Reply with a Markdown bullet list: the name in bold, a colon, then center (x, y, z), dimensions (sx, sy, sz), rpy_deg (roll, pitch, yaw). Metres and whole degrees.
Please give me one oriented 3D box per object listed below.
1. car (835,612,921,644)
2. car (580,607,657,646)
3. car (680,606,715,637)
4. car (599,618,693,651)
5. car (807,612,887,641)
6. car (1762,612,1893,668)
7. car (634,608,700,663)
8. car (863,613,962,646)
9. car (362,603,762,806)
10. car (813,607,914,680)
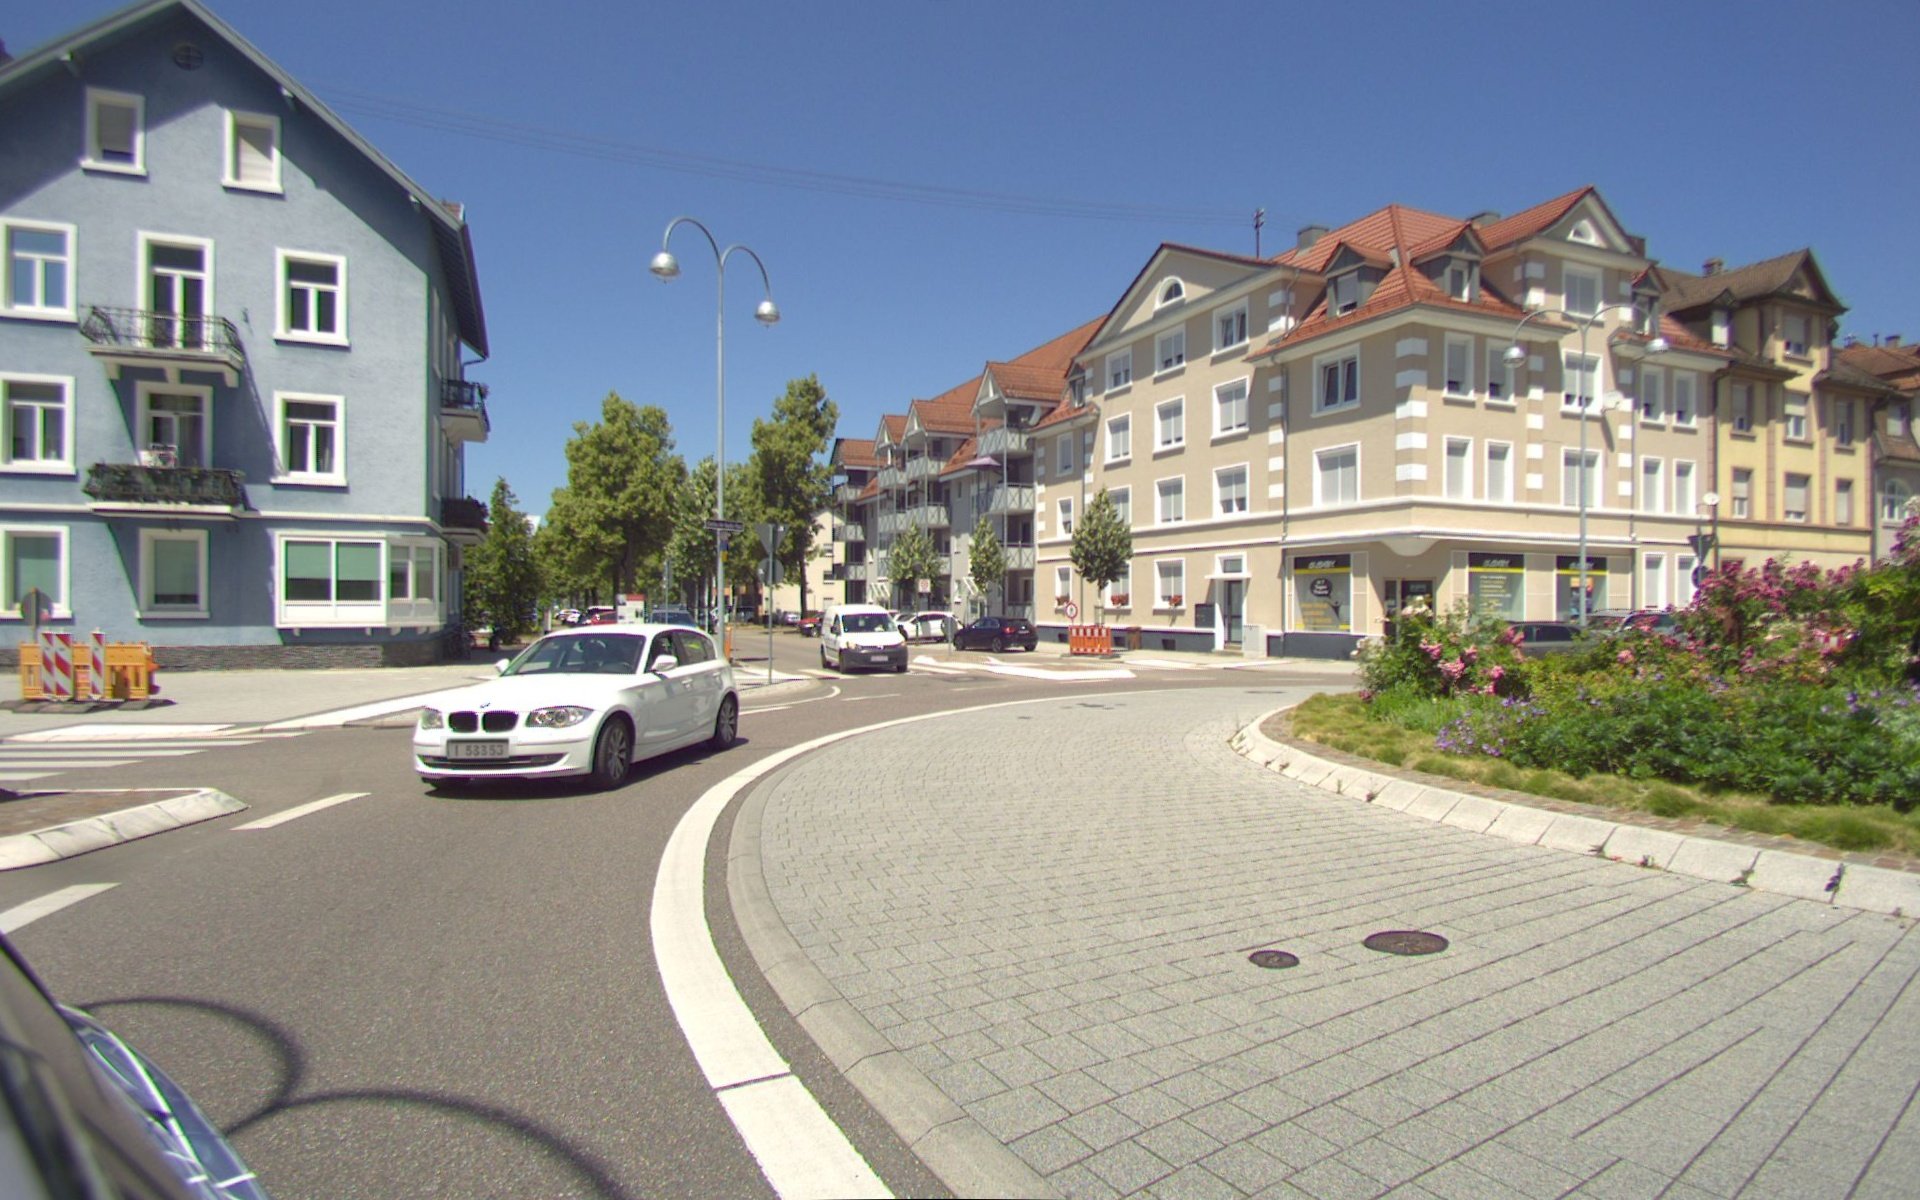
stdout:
- **car**: center (-4.513, 1.520, 55.406), dimensions (4.297, 1.683, 1.989), rpy_deg (0, -2, -23)
- **car**: center (-18.783, 1.444, 55.667), dimensions (3.930, 2.029, 2.007), rpy_deg (0, 1, -22)
- **car**: center (-18.474, 1.493, 71.079), dimensions (1.965, 2.029, 4.013), rpy_deg (0, 1, -21)
- **car**: center (-14.409, 1.559, 46.436), dimensions (3.962, 1.369, 1.667), rpy_deg (0, 2, -22)
- **car**: center (-6.708, 1.544, 60.079), dimensions (4.297, 1.683, 1.989), rpy_deg (0, -2, -23)
- **car**: center (27.531, 1.228, 32.113), dimensions (4.020, 1.629, 1.609), rpy_deg (0, 1, -25)
- **car**: center (-10.376, 1.188, 35.673), dimensions (1.750, 1.791, 4.257), rpy_deg (0, 0, -22)
- **car**: center (-2.308, 1.419, 48.739), dimensions (4.332, 1.504, 1.989), rpy_deg (0, -2, -23)
- **car**: center (-3.567, 0.865, 9.990), dimensions (1.768, 1.563, 4.115), rpy_deg (-2, -1, 10)
- **car**: center (-2.717, 1.107, 27.626), dimensions (1.750, 1.791, 4.257), rpy_deg (-1, 0, -20)
